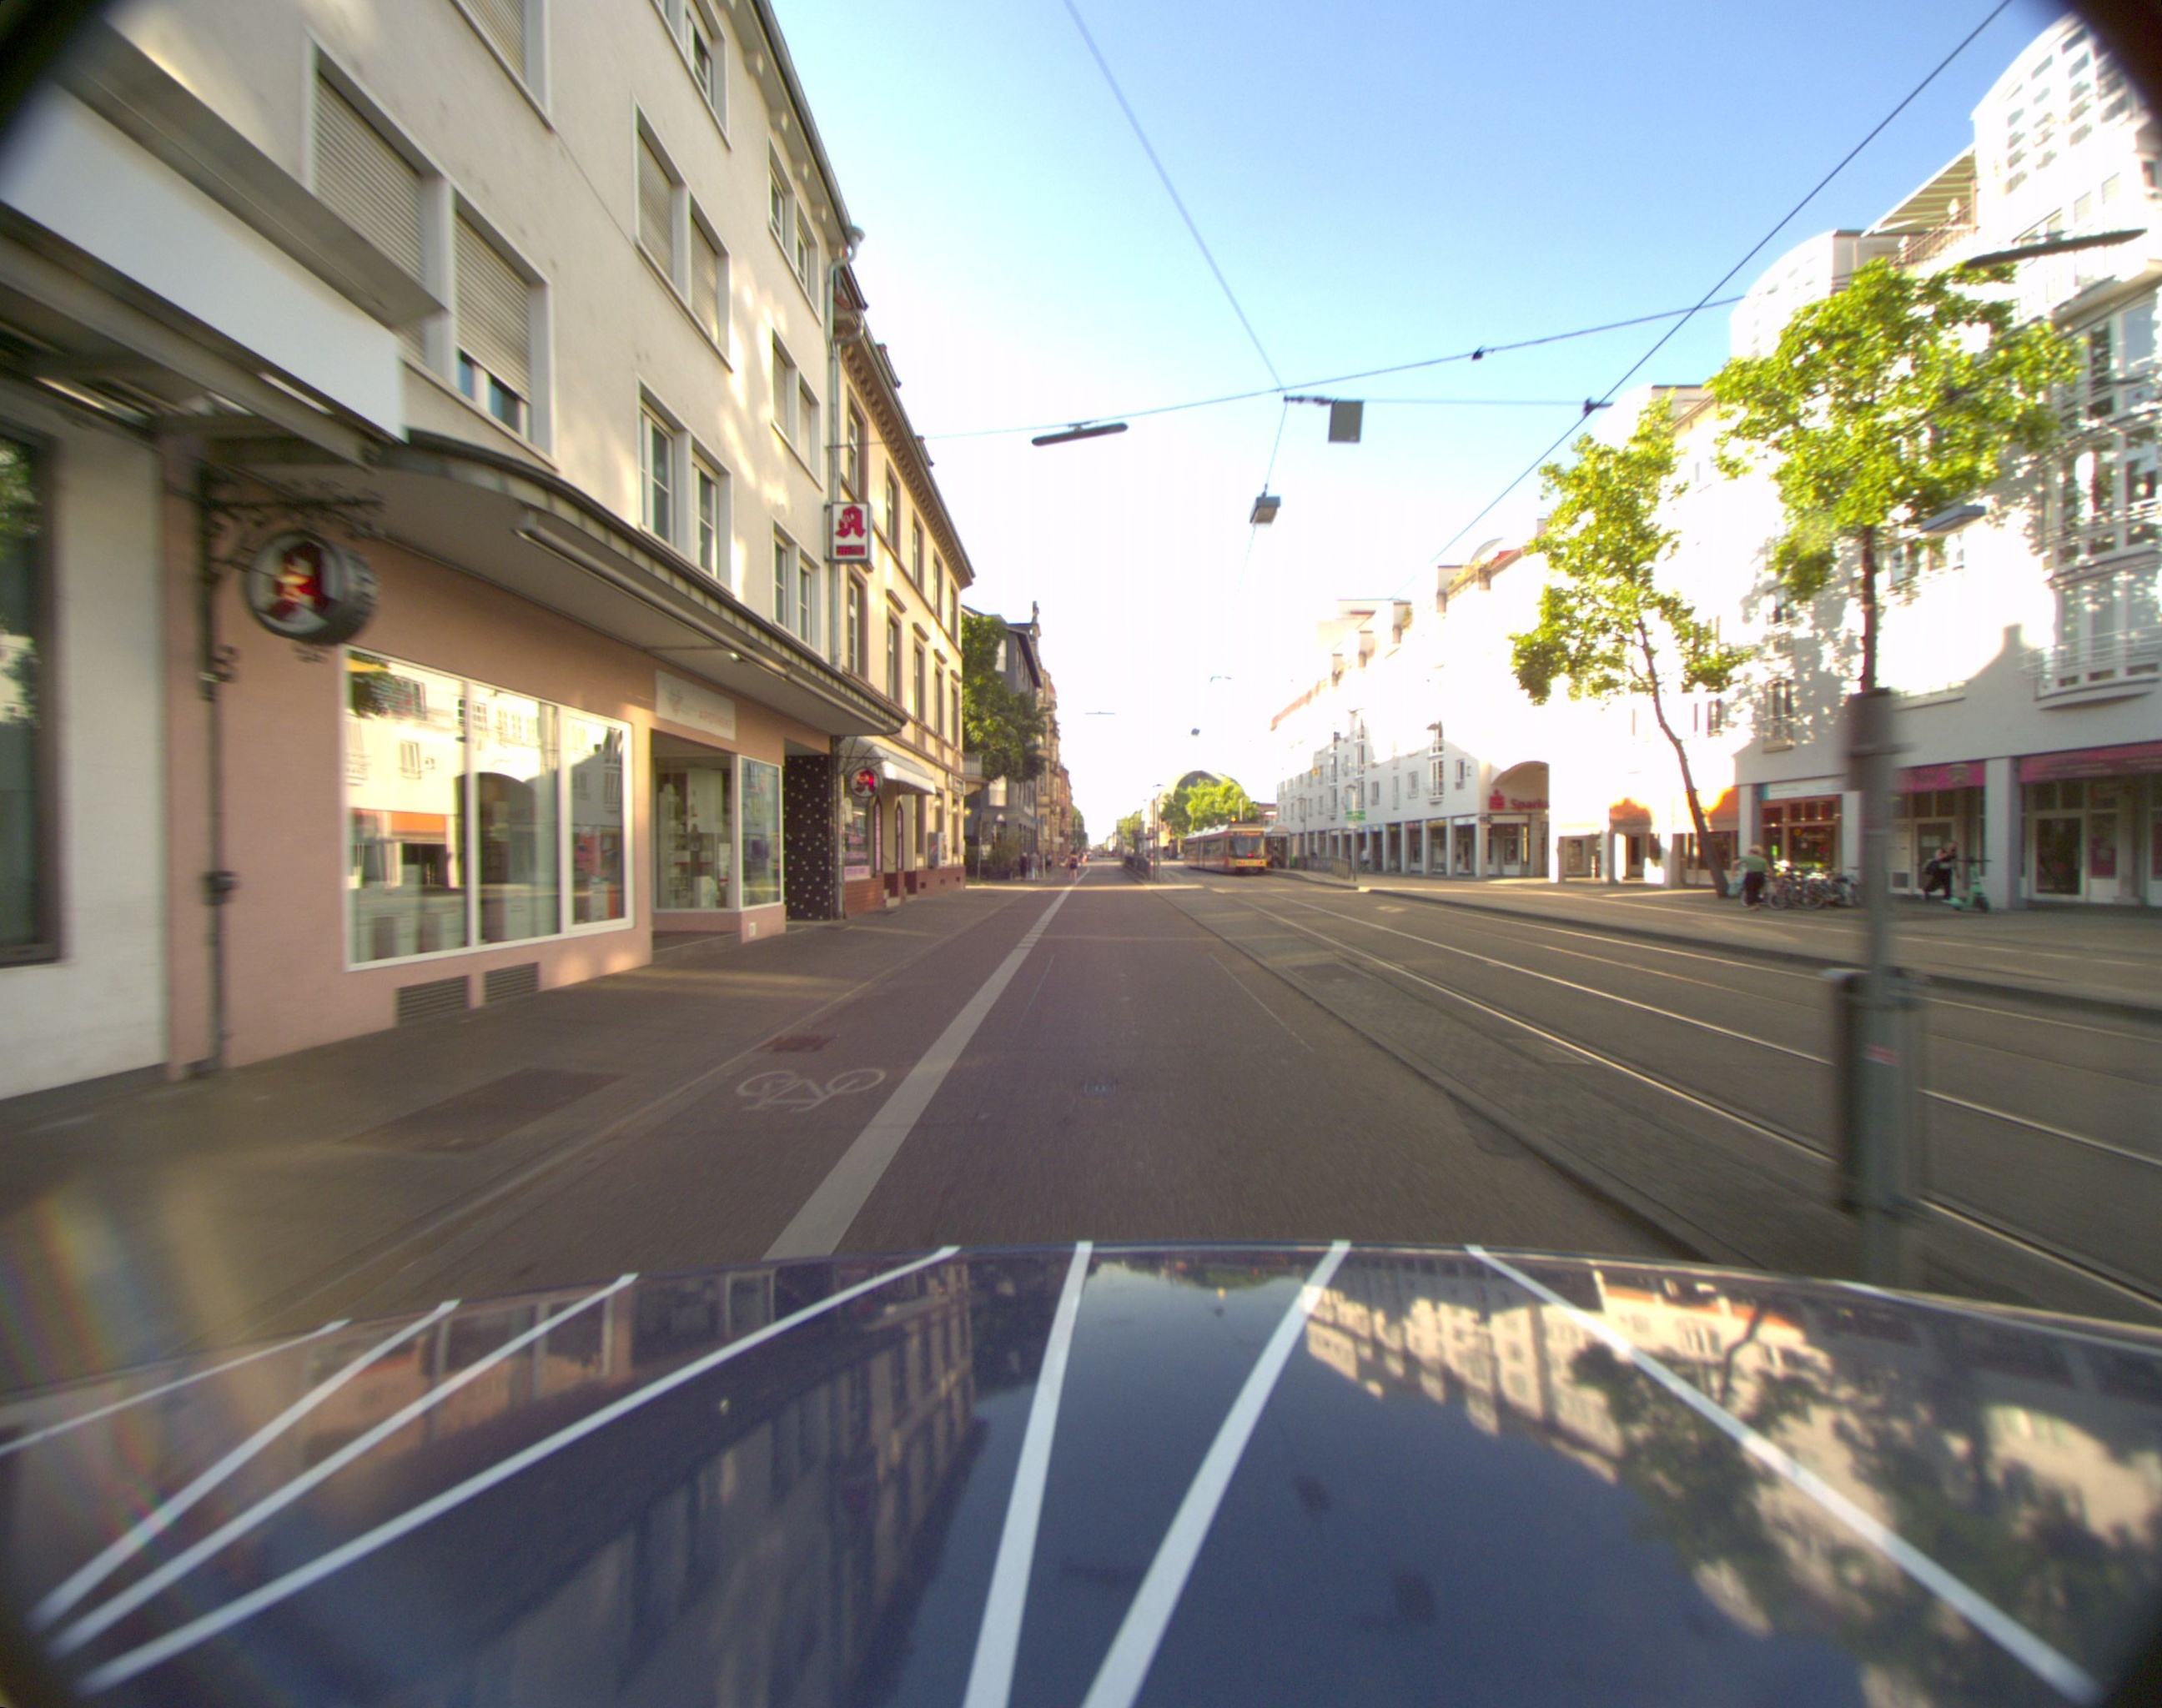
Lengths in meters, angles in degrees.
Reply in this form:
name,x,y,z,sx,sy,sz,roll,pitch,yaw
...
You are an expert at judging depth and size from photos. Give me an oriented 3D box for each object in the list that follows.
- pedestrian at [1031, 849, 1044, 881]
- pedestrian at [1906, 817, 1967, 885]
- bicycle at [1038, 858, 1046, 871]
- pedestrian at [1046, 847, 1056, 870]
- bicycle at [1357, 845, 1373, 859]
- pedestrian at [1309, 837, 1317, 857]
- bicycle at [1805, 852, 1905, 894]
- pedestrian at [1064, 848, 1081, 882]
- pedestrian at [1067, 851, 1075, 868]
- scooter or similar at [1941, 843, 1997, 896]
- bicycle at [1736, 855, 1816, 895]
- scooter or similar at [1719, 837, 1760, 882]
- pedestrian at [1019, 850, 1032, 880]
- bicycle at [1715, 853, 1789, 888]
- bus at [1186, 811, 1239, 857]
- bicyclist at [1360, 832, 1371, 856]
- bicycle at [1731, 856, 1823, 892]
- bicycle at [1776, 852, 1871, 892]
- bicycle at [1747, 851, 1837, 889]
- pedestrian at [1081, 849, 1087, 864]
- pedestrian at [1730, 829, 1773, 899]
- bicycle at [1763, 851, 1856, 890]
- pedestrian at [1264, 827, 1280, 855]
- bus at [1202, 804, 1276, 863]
name,x,y,z,sx,sy,sz,roll,pitch,yaw
pedestrian,-2.356,0.579,41.413,0.651,1.706,0.805,-1,2,-5
pedestrian,21.990,-0.078,19.552,0.631,1.706,0.825,-1,2,3
bicycle,-3.089,0.800,59.982,0.389,0.907,1.851,-2,1,3
pedestrian,-2.396,0.358,59.822,0.650,1.761,0.697,-1,2,6
bicycle,20.501,-0.158,54.876,0.518,0.983,1.727,-2,1,2
pedestrian,20.397,-0.645,66.757,0.533,1.706,0.706,-1,2,3
bicycle,18.610,0.456,18.284,1.849,0.907,0.389,-2,2,7
pedestrian,-0.448,0.564,40.000,0.807,1.790,0.761,-1,2,2
pedestrian,-1.039,0.593,78.468,0.694,1.761,0.697,-1,2,6
scooter or similar,19.655,0.332,16.838,0.335,1.105,1.181,0,2,25
bicycle,17.470,0.506,19.159,0.389,0.907,1.851,-2,1,3
scooter or similar,19.653,0.150,22.683,0.378,1.271,1.180,-4,1,13
pedestrian,-3.004,0.600,41.301,0.651,1.570,0.682,-1,2,-5
bicycle,19.022,0.454,21.538,1.776,0.907,0.418,-3,2,-3
bus,11.287,-1.696,66.431,2.818,3.547,13.677,-1,1,3
bicyclist,20.473,-0.701,54.677,0.514,1.690,0.807,-2,2,2
bicycle,18.709,0.537,20.440,1.848,0.907,0.390,-2,2,15
bicycle,18.634,0.452,19.091,1.849,0.907,0.389,-2,1,7
bicycle,18.672,0.421,19.973,1.849,0.907,0.389,-2,2,7
pedestrian,0.356,0.283,93.037,0.694,1.761,0.697,-1,2,6
pedestrian,16.827,0.238,19.084,0.630,1.706,0.826,0,2,29
bicycle,18.692,0.425,19.504,1.849,0.907,0.389,-2,2,7
pedestrian,12.867,-0.880,51.217,0.918,1.822,0.977,-1,2,3
bus,10.701,-1.413,53.062,2.818,3.547,13.677,-1,1,2
